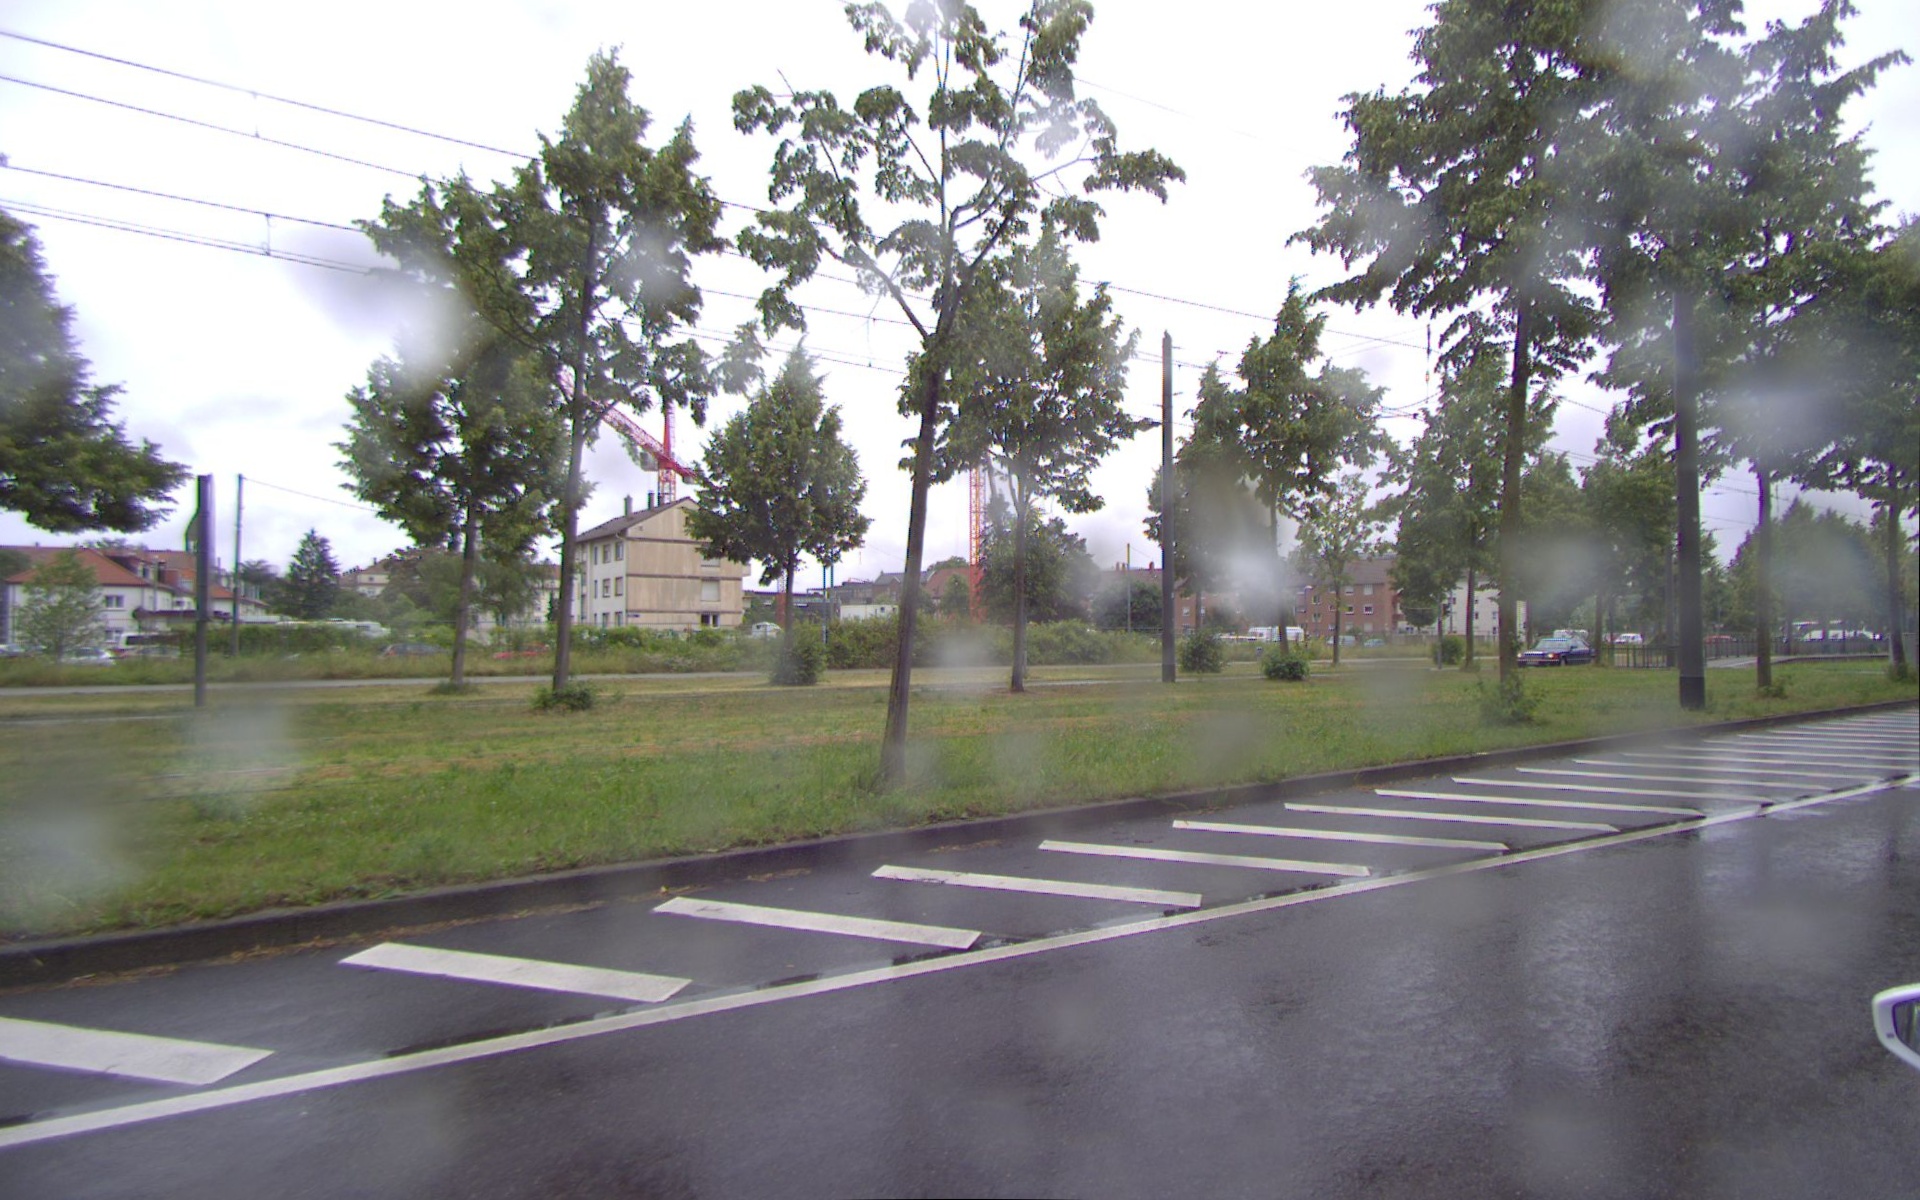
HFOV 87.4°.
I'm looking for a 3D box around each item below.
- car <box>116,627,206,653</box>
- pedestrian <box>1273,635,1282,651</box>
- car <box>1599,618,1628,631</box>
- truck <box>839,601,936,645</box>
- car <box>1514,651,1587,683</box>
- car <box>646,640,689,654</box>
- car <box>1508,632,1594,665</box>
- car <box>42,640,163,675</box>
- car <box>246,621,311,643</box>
[{"bbox_3d":[-46.717,2.321,58.836,3.855,1.368,1.682,-1,0,-30],"label":"car"},{"bbox_3d":[33.797,4.592,106.933,0.691,1.694,0.670,-1,0,-43],"label":"pedestrian"},{"bbox_3d":[95.004,3.562,146.105,3.481,1.762,1.702,-2,0,32],"label":"car"},{"bbox_3d":[-9.640,3.092,136.005,6.098,5.468,13.270,-2,0,34],"label":"truck"},{"bbox_3d":[25.978,2.896,44.091,4.943,1.314,1.474,3,-4,-44],"label":"car"},{"bbox_3d":[-21.657,3.455,74.329,2.860,0.991,1.181,1,-2,-34],"label":"car"},{"bbox_3d":[25.981,2.097,44.090,4.807,1.283,1.537,0,-1,-38],"label":"car"},{"bbox_3d":[-38.837,2.590,45.612,3.855,1.368,1.682,-1,0,-30],"label":"car"},{"bbox_3d":[-41.988,1.953,61.963,3.208,1.214,1.182,-1,0,-30],"label":"car"}]
